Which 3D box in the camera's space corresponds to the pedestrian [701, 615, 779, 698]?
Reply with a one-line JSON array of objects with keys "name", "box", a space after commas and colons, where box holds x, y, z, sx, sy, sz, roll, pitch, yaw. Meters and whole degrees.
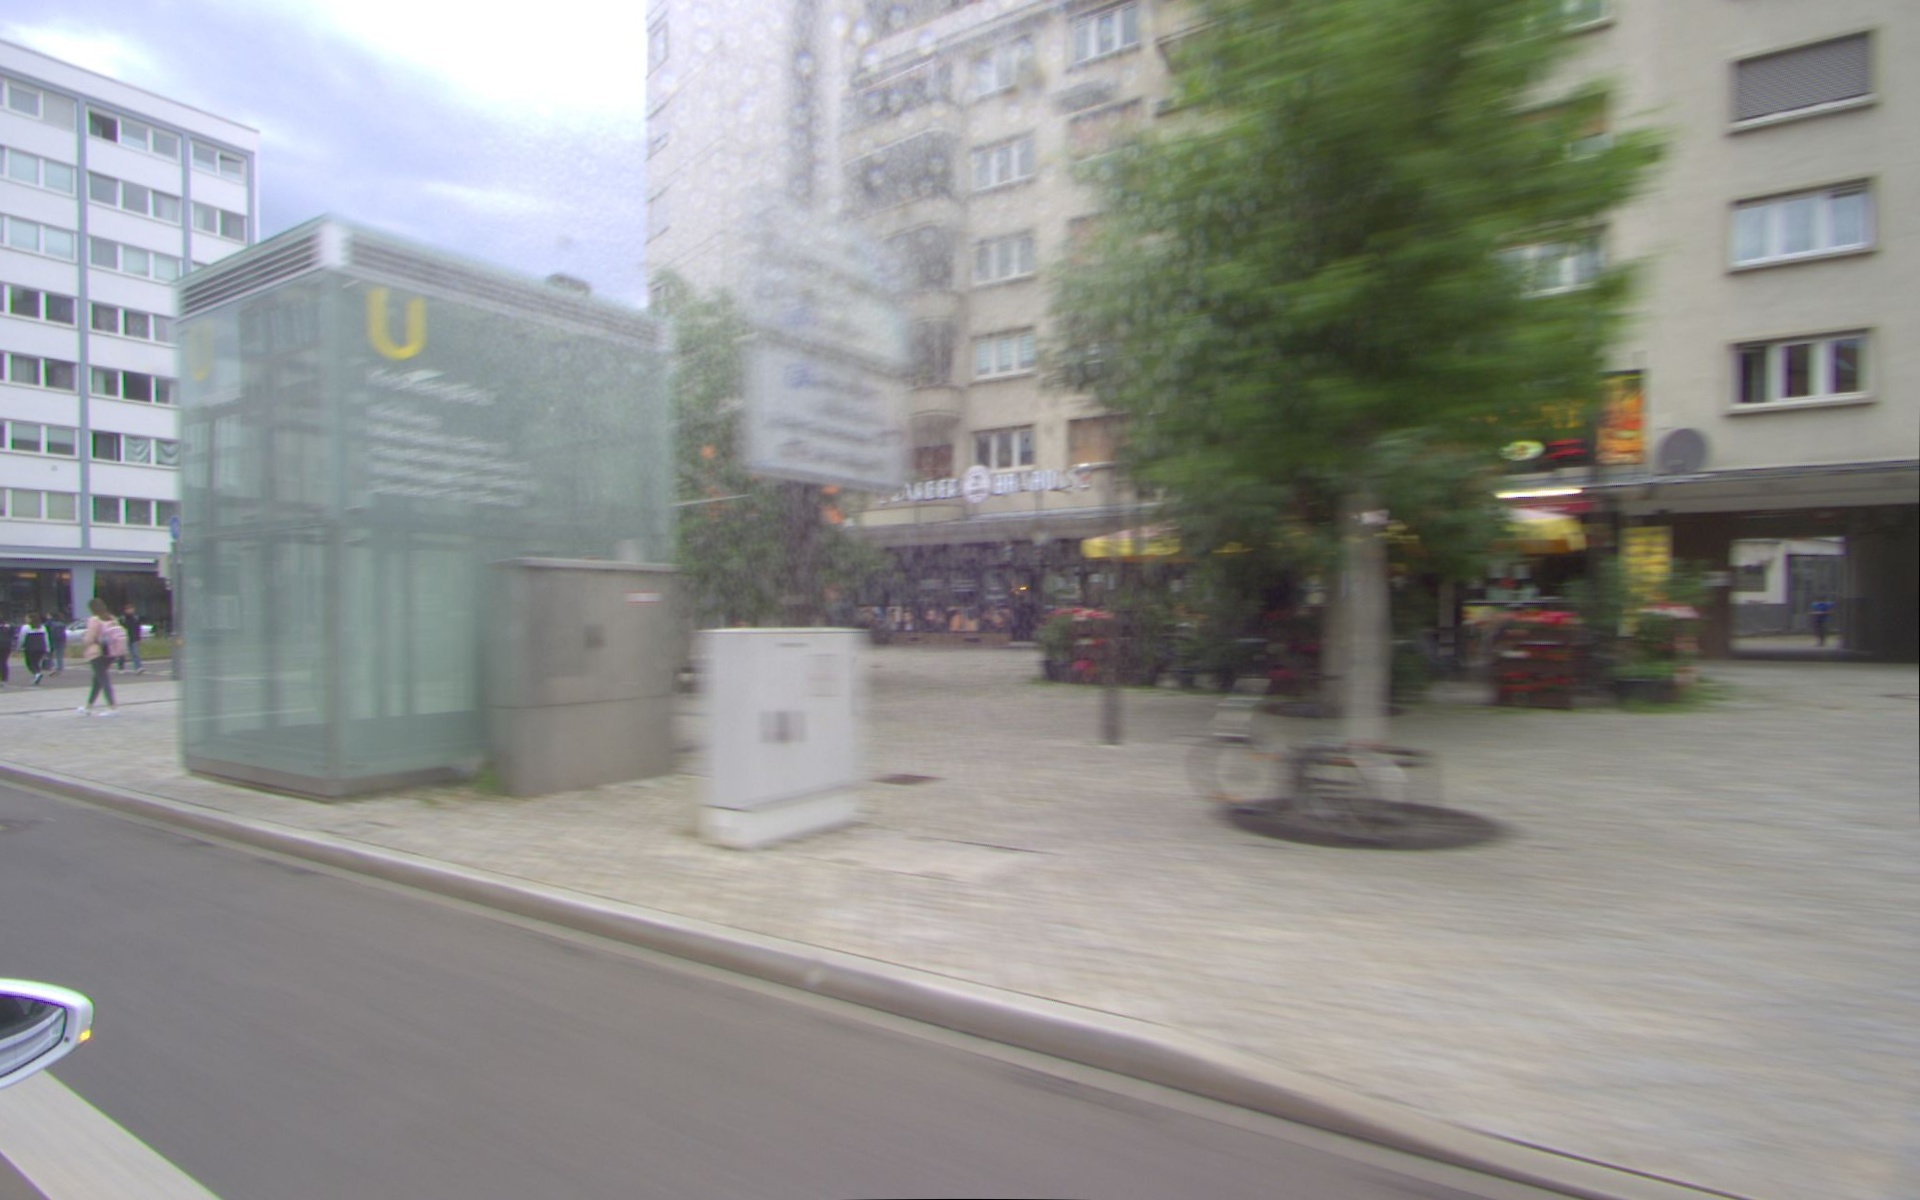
[{"name": "pedestrian", "box": [-3.696, 0.922, 16.864, 0.724, 1.314, 1.040, 0, 1, 38]}]

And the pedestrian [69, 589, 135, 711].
[{"name": "pedestrian", "box": [-12.774, 0.734, 14.909, 0.592, 1.784, 0.522, 0, -1, 25]}]

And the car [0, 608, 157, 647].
[{"name": "car", "box": [-35.575, 1.068, 40.491, 1.722, 1.501, 4.545, 0, 0, 30]}]

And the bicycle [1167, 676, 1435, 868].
[{"name": "bicycle", "box": [2.216, 1.070, 6.749, 0.650, 0.991, 1.746, 0, 0, -28]}]

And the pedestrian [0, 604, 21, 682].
[{"name": "pedestrian", "box": [-22.195, 0.981, 23.009, 0.767, 1.784, 0.621, 0, -1, 25]}]

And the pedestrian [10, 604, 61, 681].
[{"name": "pedestrian", "box": [-21.872, 1.001, 23.685, 0.767, 1.784, 0.621, 0, -1, 25]}]

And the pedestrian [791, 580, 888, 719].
[{"name": "pedestrian", "box": [-1.656, 0.660, 13.781, 1.062, 1.827, 0.711, 0, 2, 32]}]

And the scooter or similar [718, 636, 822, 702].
[{"name": "scooter or similar", "box": [-3.114, 1.110, 16.384, 1.564, 0.961, 0.723, -1, 1, -19]}]

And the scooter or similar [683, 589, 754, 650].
[{"name": "scooter or similar", "box": [-7.456, 0.582, 30.873, 2.248, 1.830, 1.078, 0, 0, 42]}]

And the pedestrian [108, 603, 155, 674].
[{"name": "pedestrian", "box": [-22.500, 1.028, 27.194, 1.140, 1.887, 0.798, 0, 1, 43]}]
